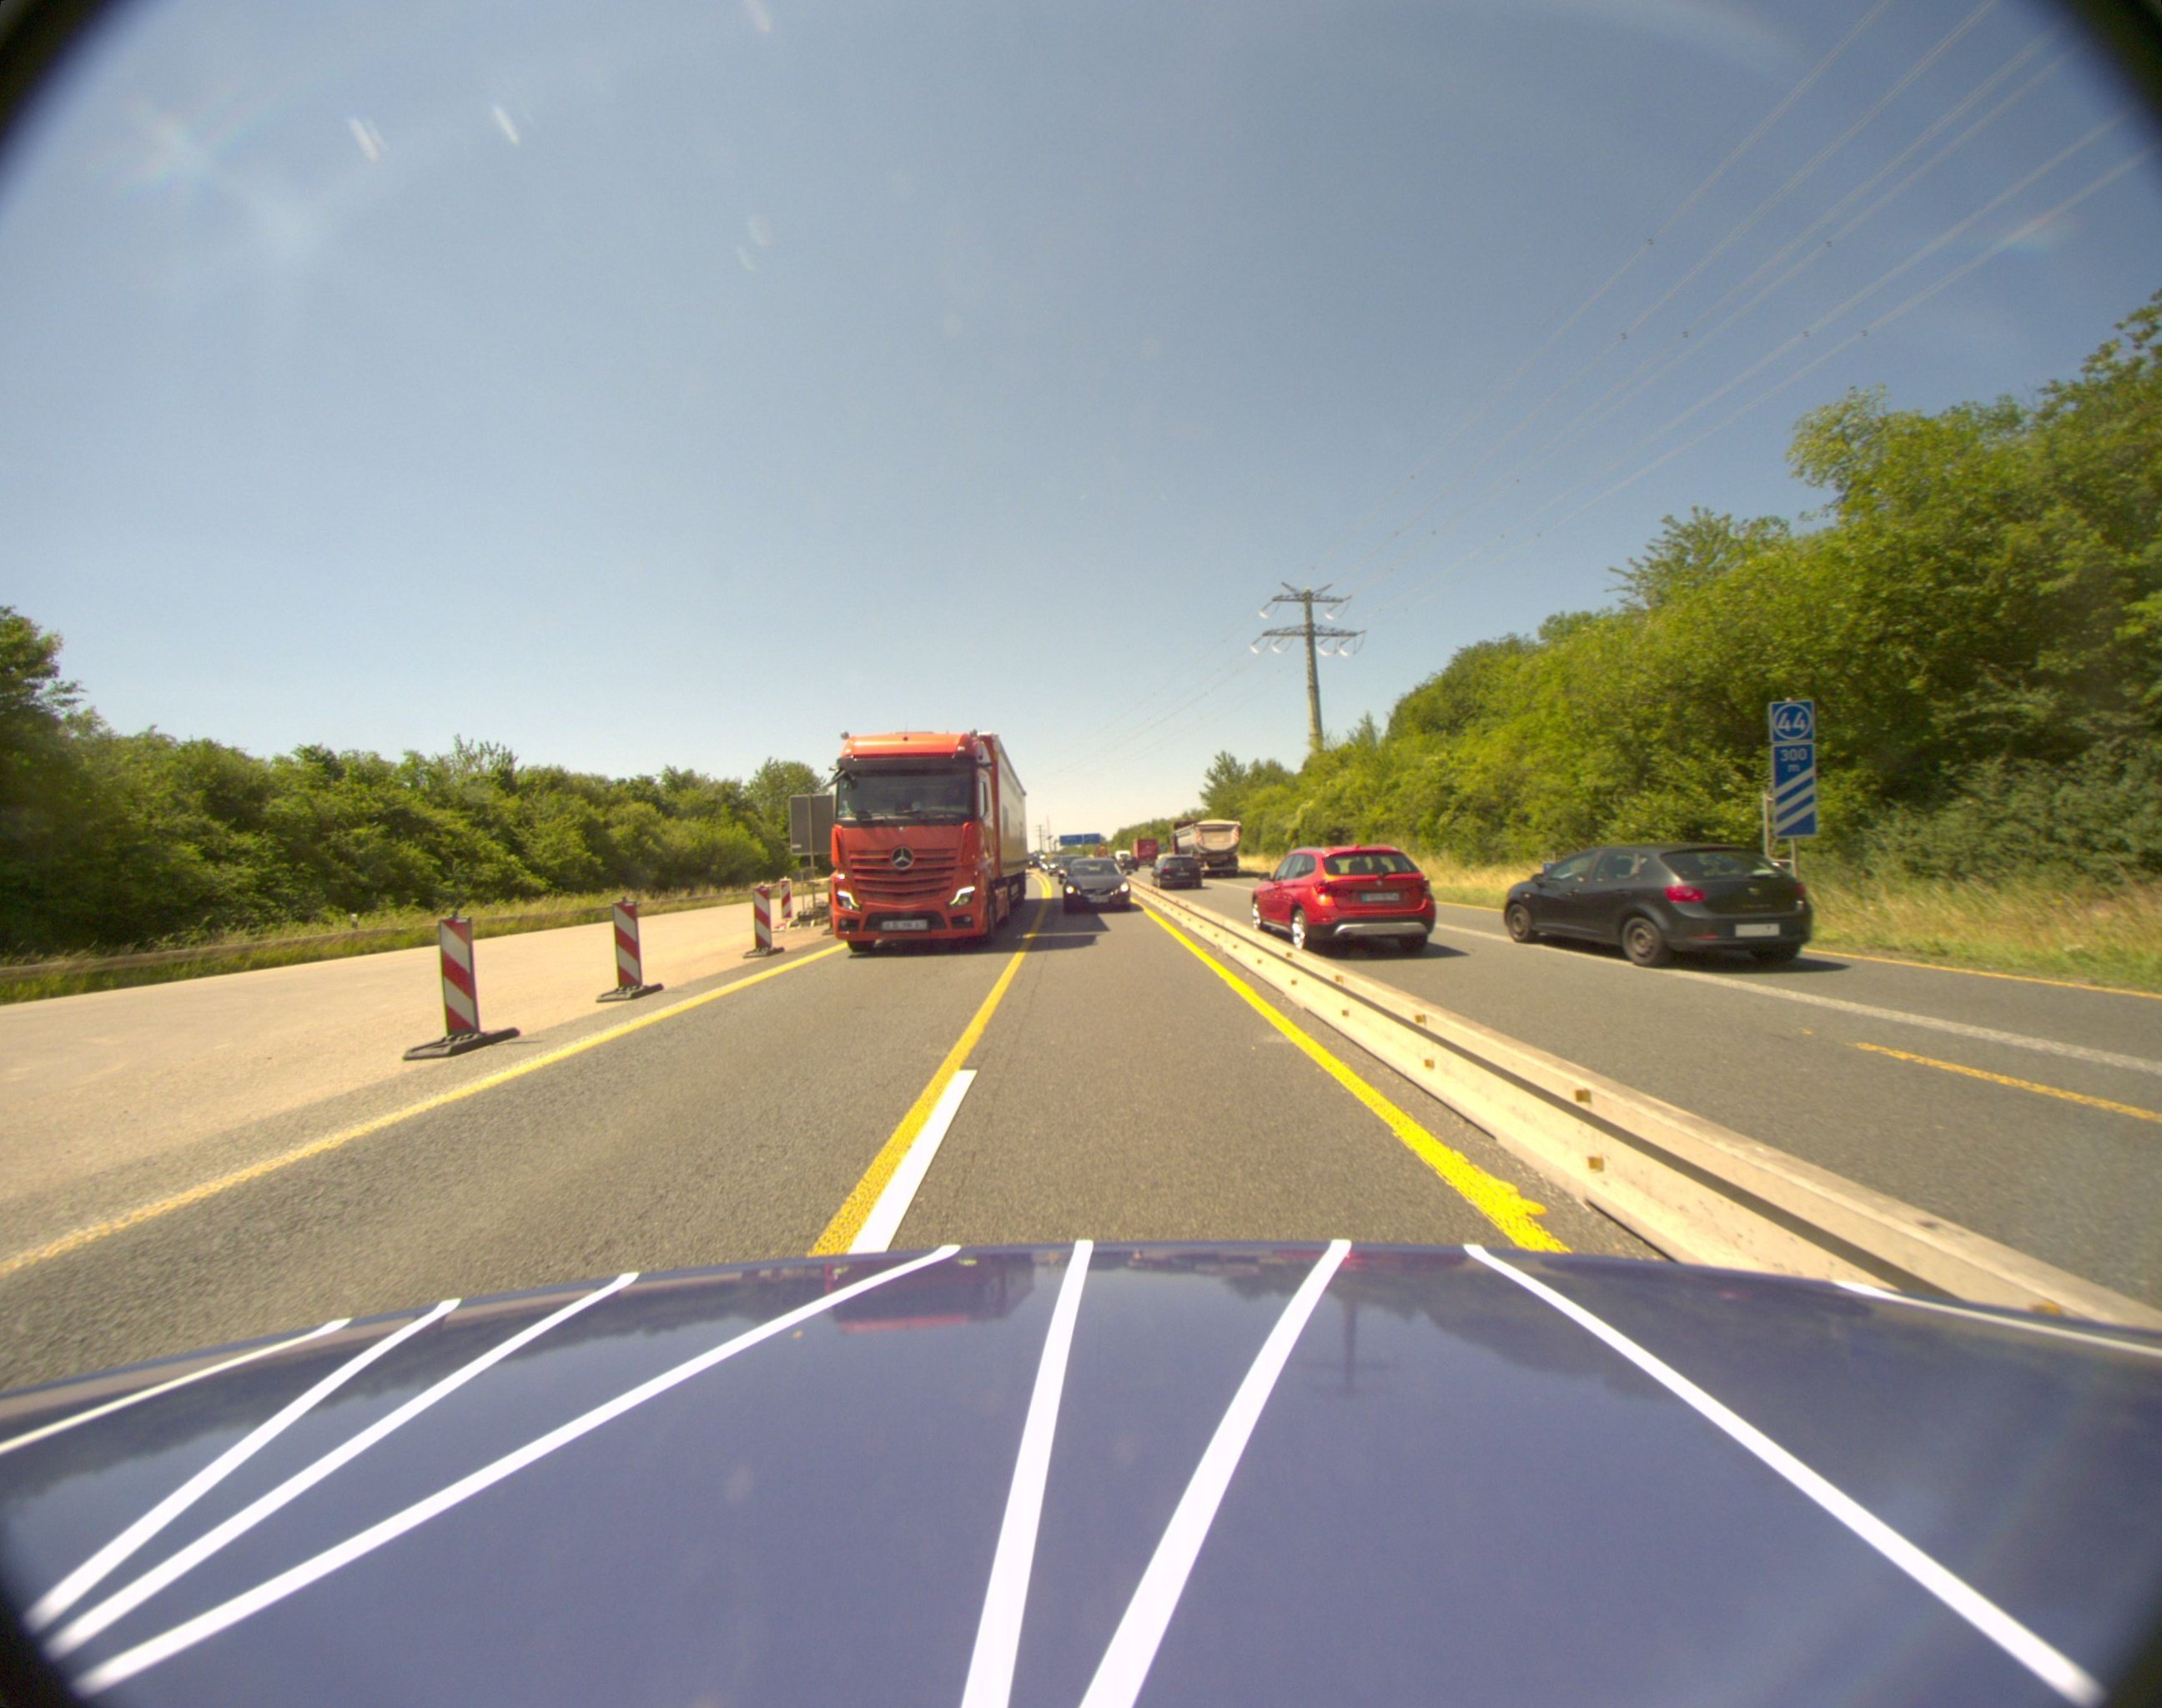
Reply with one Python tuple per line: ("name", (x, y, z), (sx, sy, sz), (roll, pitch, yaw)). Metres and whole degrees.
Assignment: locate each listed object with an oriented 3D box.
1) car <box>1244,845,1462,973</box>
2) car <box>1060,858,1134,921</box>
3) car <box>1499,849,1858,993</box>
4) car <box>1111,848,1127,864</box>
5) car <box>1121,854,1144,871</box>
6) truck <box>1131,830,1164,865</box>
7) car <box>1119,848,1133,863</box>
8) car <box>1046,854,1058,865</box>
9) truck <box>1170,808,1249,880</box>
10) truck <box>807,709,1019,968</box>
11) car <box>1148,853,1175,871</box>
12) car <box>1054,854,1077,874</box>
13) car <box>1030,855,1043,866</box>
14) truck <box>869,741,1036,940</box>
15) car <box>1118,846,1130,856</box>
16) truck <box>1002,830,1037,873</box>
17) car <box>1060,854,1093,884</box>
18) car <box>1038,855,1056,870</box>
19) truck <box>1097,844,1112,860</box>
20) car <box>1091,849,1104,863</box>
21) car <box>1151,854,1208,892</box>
("car", (3.975, 0.693, 11.964), (1.904, 1.580, 4.275), (-2, 1, 1))
("car", (0.415, 0.886, 20.984), (1.767, 1.411, 4.698), (-2, 1, 1))
("car", (7.182, 0.679, 9.678), (1.685, 1.413, 3.642), (-2, 1, 0))
("car", (5.150, 0.244, 103.368), (1.855, 2.044, 4.348), (-2, 1, 0))
("car", (4.726, 0.773, 70.282), (1.855, 1.413, 4.348), (-2, 1, 0))
("truck", (7.958, -0.770, 92.331), (2.810, 3.754, 11.377), (-4, 0, 0))
("car", (6.901, 0.204, 116.933), (1.855, 2.044, 4.348), (-2, 1, 0))
("car", (-4.455, 0.821, 117.018), (1.767, 1.523, 4.698), (-2, 1, -1))
("truck", (7.656, -0.565, 46.969), (2.943, 3.754, 11.378), (-4, 0, 1))
("truck", (-2.920, -0.279, 15.367), (2.689, 3.987, 6.724), (-2, 1, -1))
("car", (7.230, 0.696, 68.544), (1.855, 1.413, 4.348), (-2, 1, 0))
("car", (-1.256, 0.792, 62.798), (1.767, 1.523, 4.698), (-2, 1, -1))
("car", (-6.457, 0.907, 111.575), (1.767, 1.523, 4.697), (-2, 1, -2))
("truck", (-3.009, -0.351, 22.197), (2.689, 3.987, 13.215), (-2, 1, -1))
("car", (12.105, -0.917, 214.586), (2.810, 2.735, 6.800), (-4, 0, 0))
("truck", (-6.184, -0.276, 78.440), (2.481, 4.030, 13.109), (-2, 0, -1))
("car", (-0.221, 0.792, 43.842), (1.767, 1.523, 4.698), (-2, 1, 1))
("car", (-3.751, 0.879, 84.801), (1.767, 1.523, 4.698), (-2, 1, -1))
("truck", (5.447, -0.522, 177.718), (2.810, 3.317, 11.377), (-4, 0, 0))
("car", (2.471, 0.261, 114.338), (1.855, 2.044, 4.348), (-2, 1, 0))
("car", (4.147, 0.758, 32.729), (1.855, 1.413, 4.348), (-2, 1, 0))
